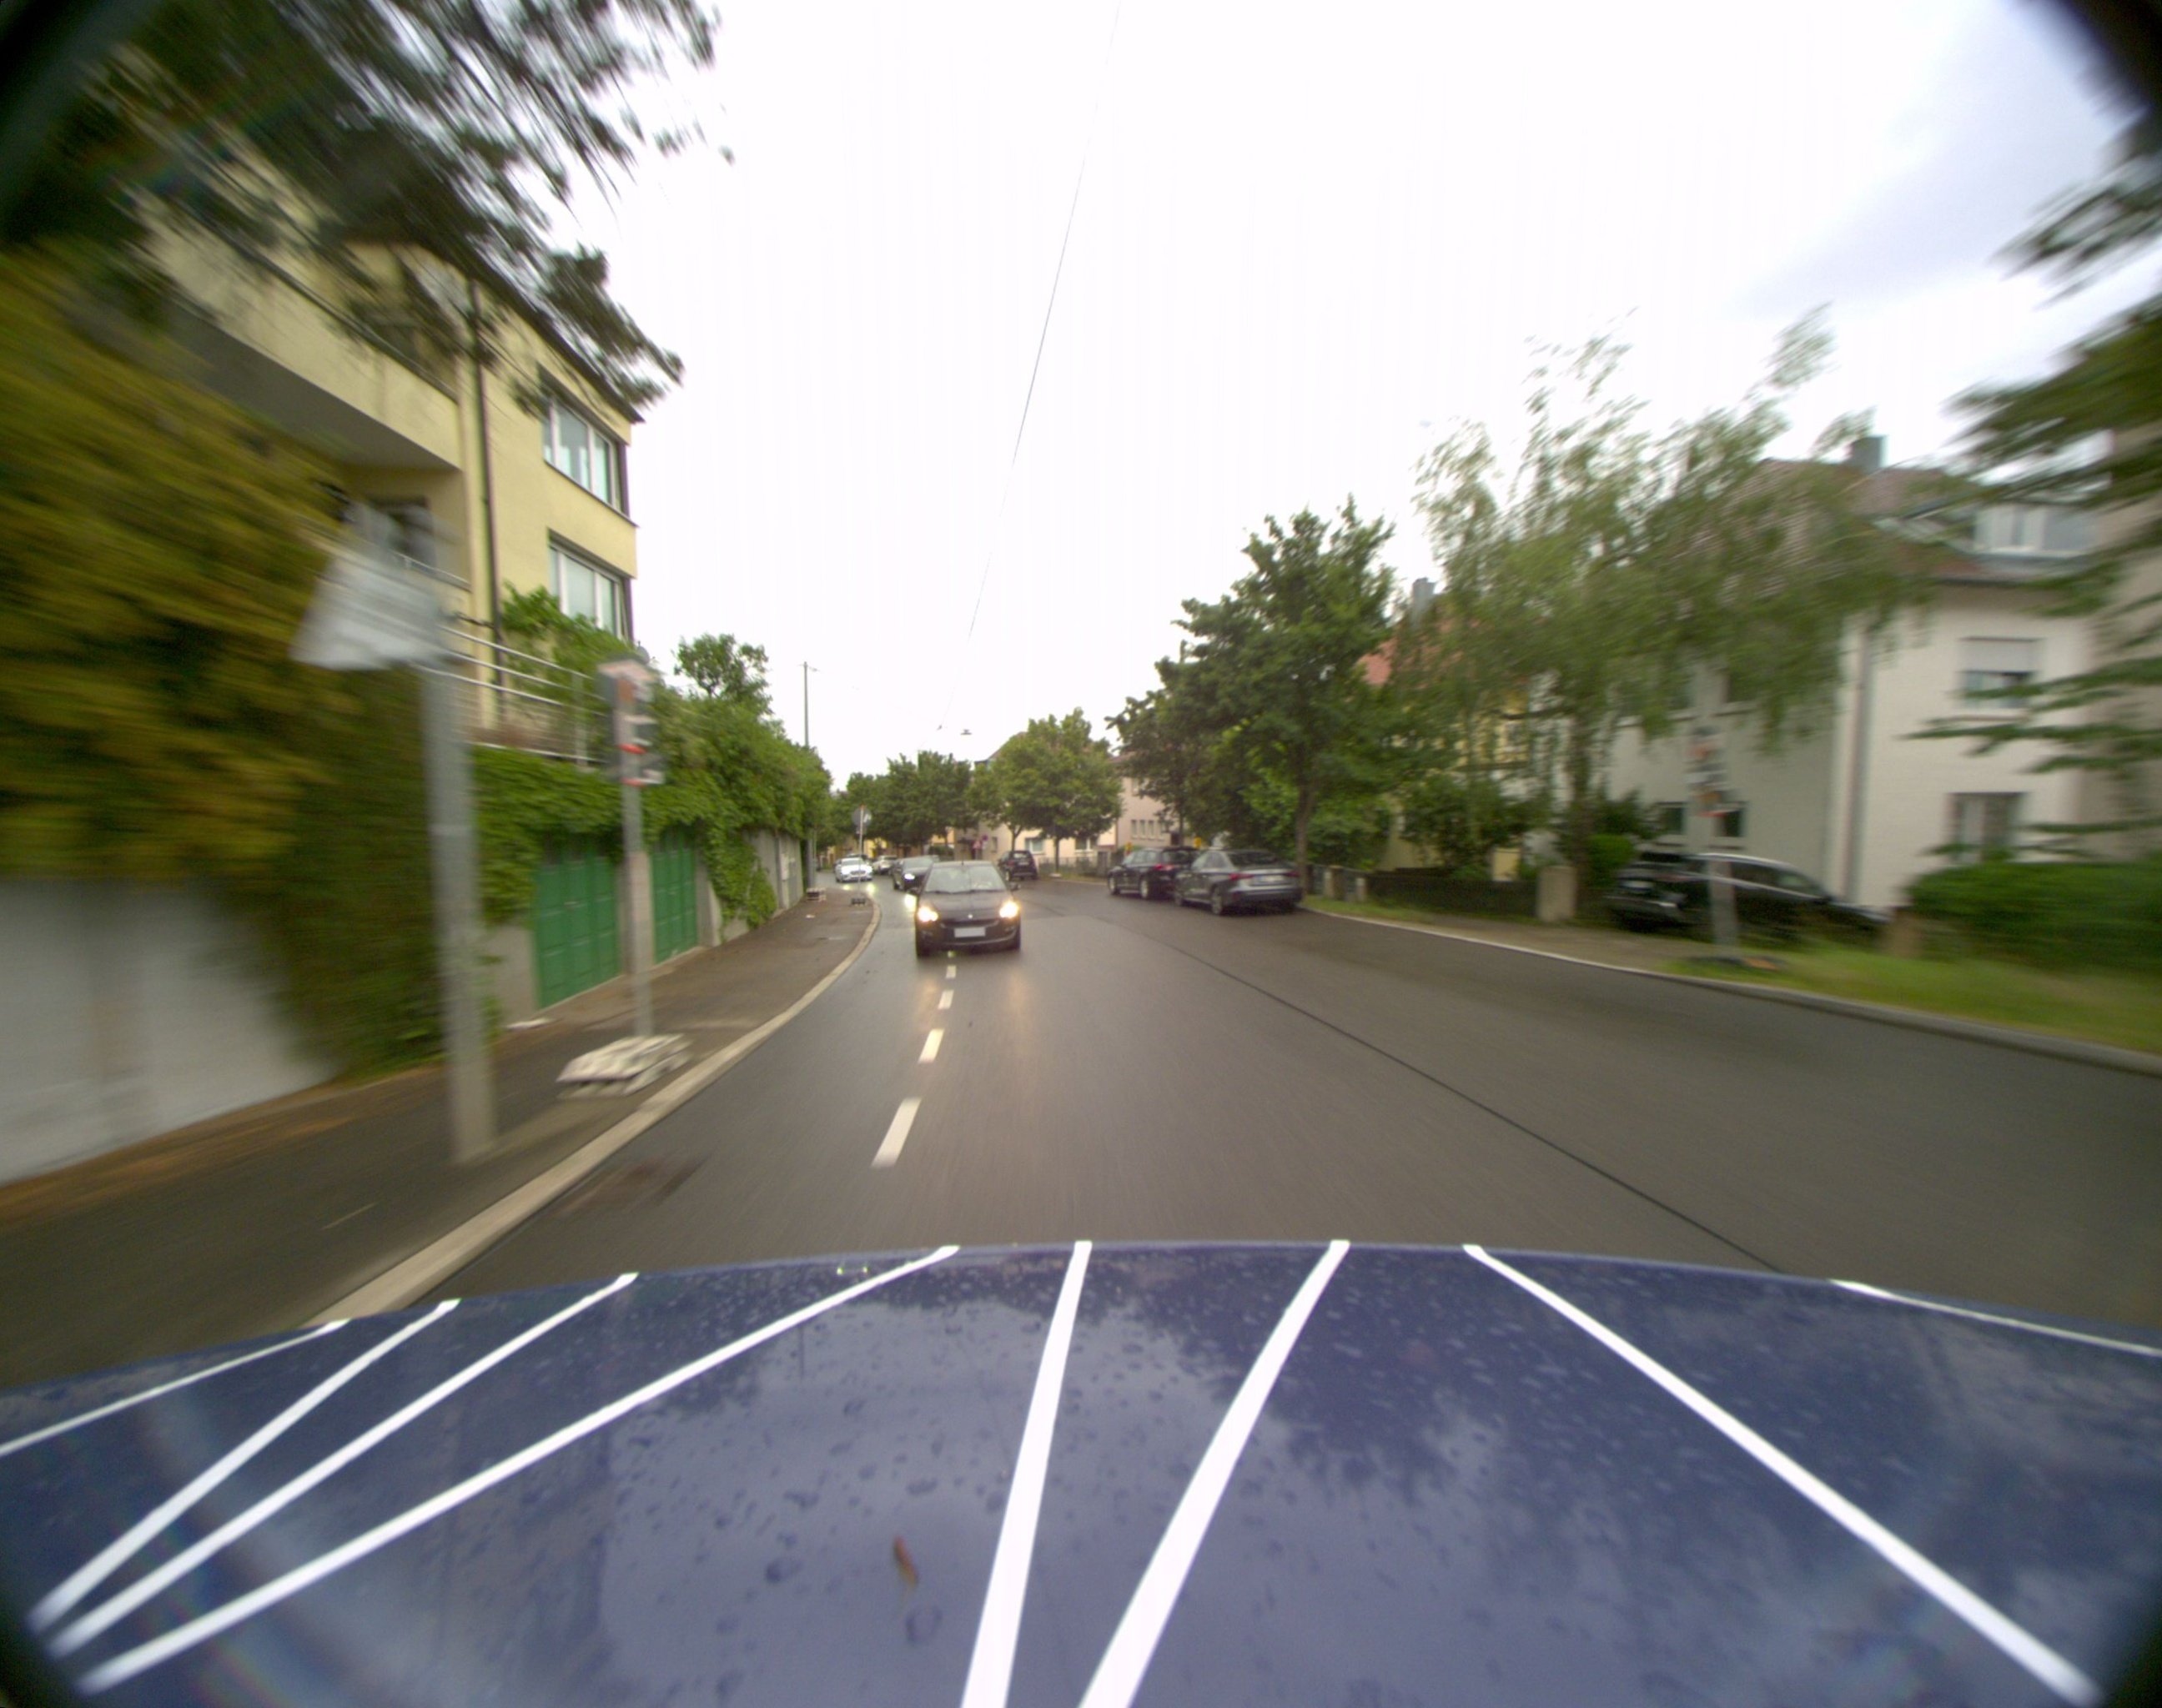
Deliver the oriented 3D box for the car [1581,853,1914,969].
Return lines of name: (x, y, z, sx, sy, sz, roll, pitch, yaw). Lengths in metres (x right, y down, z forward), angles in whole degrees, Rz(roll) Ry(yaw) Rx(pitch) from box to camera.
car: (11.871, 0.969, 13.768, 4.250, 1.496, 1.913, 6, 1, -1)

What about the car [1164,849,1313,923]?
car: (3.468, 0.631, 17.671, 1.712, 1.375, 4.524, -3, 1, -11)

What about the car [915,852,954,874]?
car: (-11.031, 0.652, 56.979, 1.725, 1.537, 4.284, 0, 0, -28)

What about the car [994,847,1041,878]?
car: (-3.347, 0.441, 39.640, 1.525, 1.526, 3.030, -1, 1, -23)

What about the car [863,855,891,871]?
car: (-19.278, 0.816, 71.581, 1.626, 1.433, 4.258, 0, 0, -28)

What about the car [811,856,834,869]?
car: (-33.211, 1.053, 97.522, 1.914, 1.591, 4.079, -2, 1, -30)

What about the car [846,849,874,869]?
car: (-22.848, 0.479, 78.389, 1.826, 2.000, 4.552, 0, 0, -29)

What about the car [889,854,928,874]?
car: (-13.983, 0.769, 61.392, 1.830, 1.500, 4.728, -2, 1, -29)

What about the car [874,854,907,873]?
car: (-16.629, 0.798, 66.111, 1.816, 1.604, 4.499, -1, 0, -27)

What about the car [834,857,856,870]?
car: (-25.658, 1.009, 82.650, 1.546, 1.365, 3.531, 0, 0, -29)

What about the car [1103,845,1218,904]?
car: (2.211, 0.513, 22.502, 1.739, 1.475, 4.523, -3, 2, -16)

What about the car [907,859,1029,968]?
car: (-1.976, 0.878, 13.321, 1.748, 1.434, 4.355, -1, 1, -9)

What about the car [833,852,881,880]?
car: (-15.438, 0.818, 52.200, 2.022, 1.728, 4.588, -5, 2, -30)
